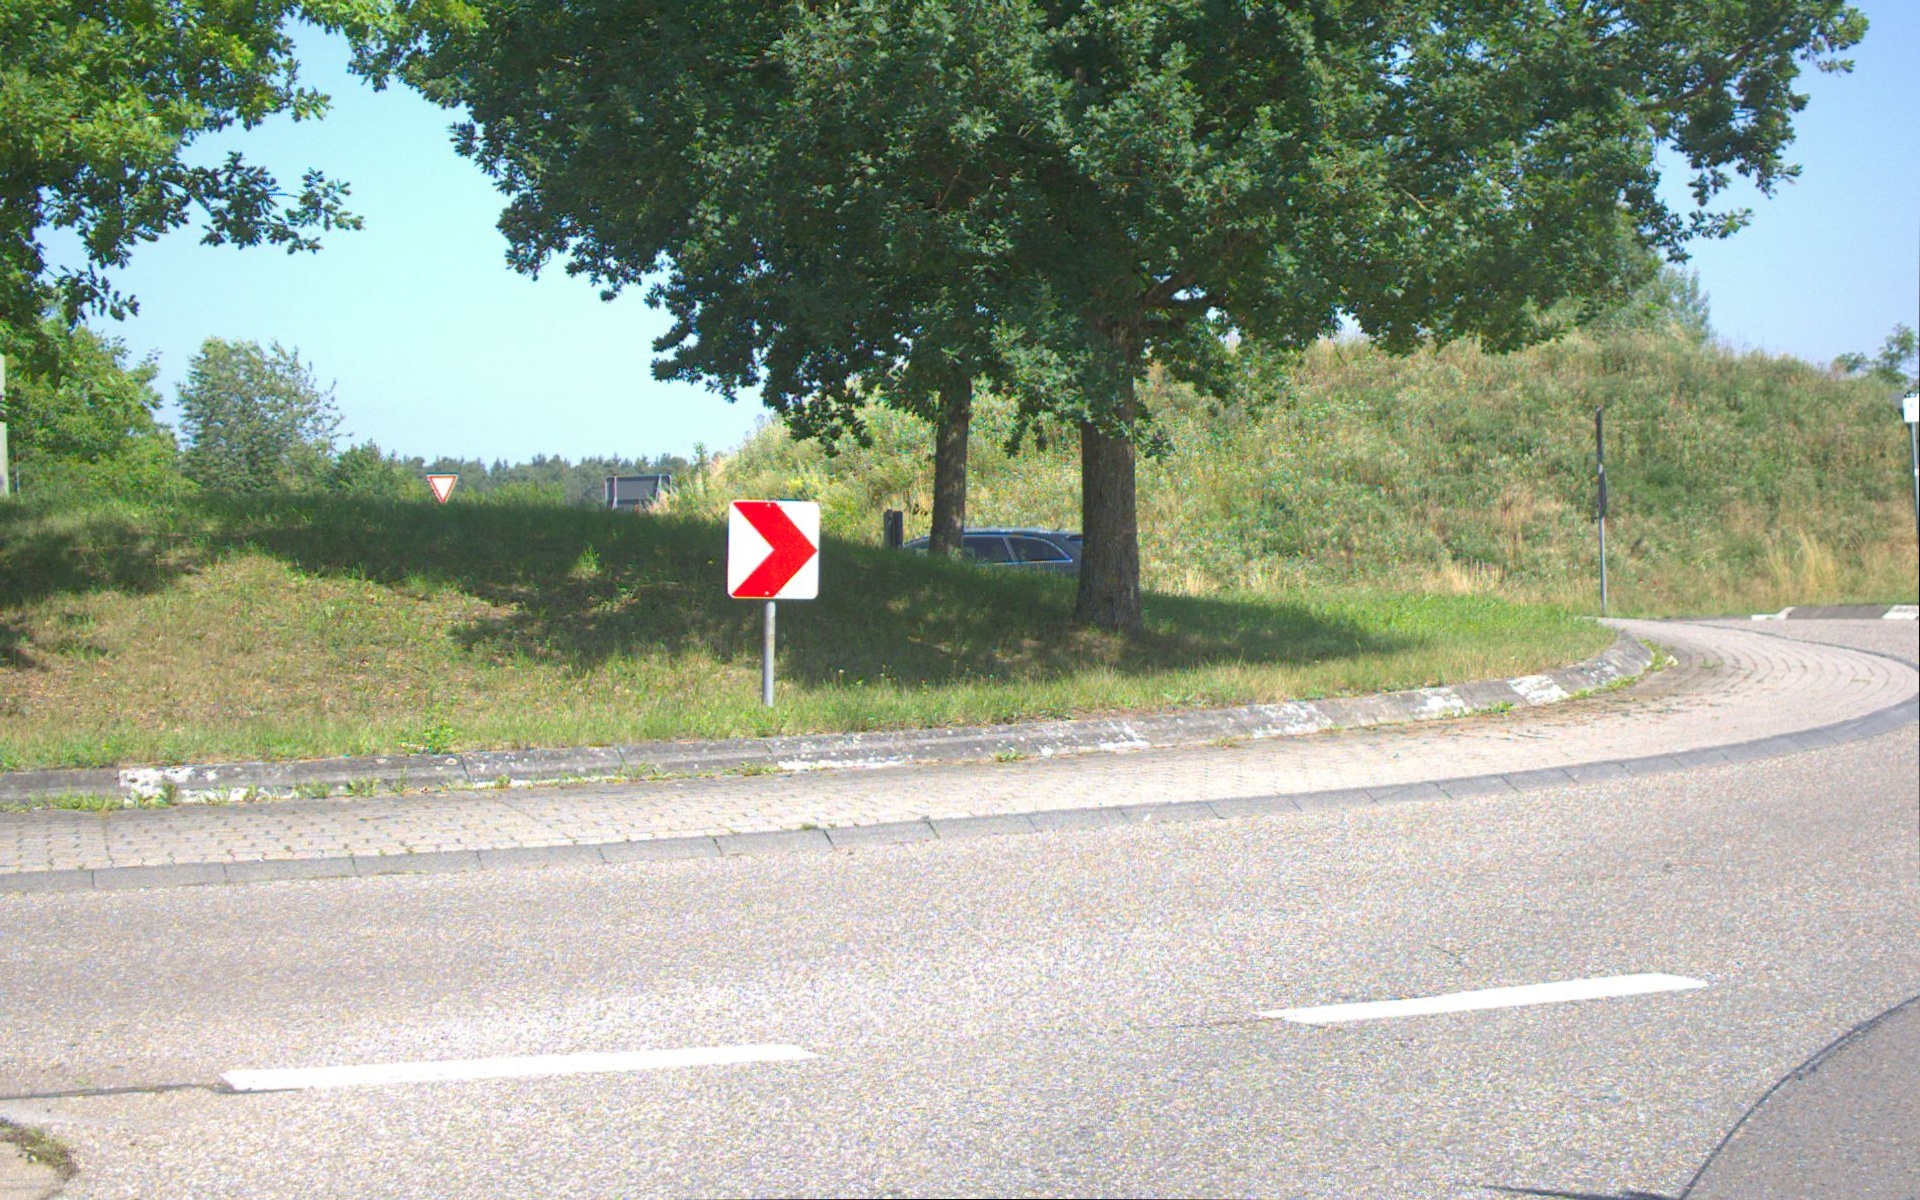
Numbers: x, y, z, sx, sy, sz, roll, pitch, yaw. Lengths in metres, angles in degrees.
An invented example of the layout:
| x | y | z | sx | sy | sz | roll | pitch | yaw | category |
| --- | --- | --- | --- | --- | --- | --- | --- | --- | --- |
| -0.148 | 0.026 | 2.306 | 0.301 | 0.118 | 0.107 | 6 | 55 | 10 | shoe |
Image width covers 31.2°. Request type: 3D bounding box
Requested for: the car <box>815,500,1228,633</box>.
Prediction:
| x | y | z | sx | sy | sz | roll | pitch | yaw | category |
| --- | --- | --- | --- | --- | --- | --- | --- | --- | --- |
| 0.753 | -0.422 | 43.008 | 4.766 | 1.587 | 1.997 | 0 | 1 | 28 | car |
